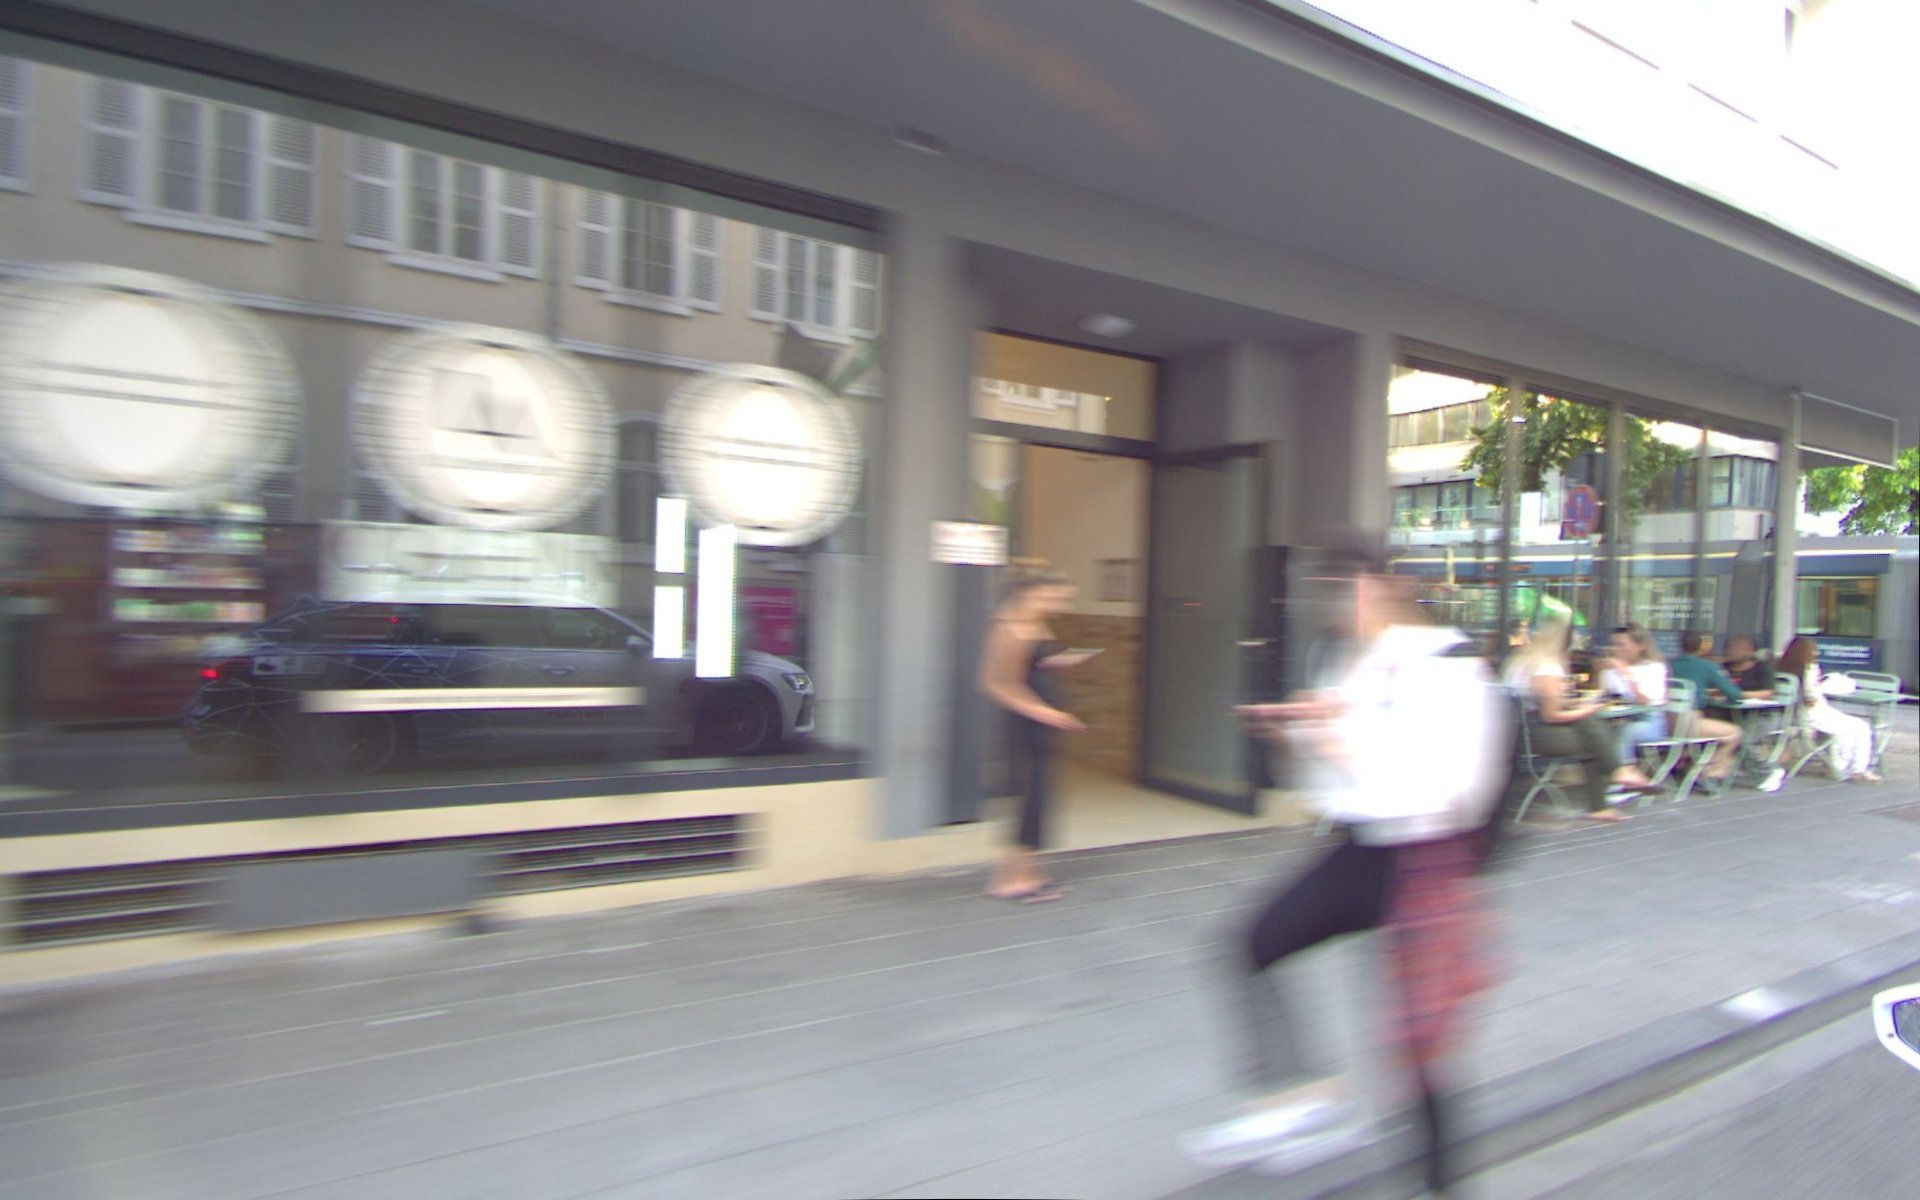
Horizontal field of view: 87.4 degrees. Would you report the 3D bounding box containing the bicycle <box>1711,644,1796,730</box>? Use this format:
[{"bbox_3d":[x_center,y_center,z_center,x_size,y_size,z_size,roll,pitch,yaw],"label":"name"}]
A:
[{"bbox_3d":[11.669,1.247,14.821,0.767,1.154,1.862,1,-2,32],"label":"bicycle"}]

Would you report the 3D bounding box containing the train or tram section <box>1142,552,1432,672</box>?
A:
[{"bbox_3d":[11.049,0.376,35.644,3.018,3.570,10.449,3,-1,-29],"label":"train or tram section"}]

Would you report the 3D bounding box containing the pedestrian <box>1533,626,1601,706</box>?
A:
[{"bbox_3d":[11.015,1.188,18.230,0.686,1.395,0.787,2,-1,-27],"label":"pedestrian"}]

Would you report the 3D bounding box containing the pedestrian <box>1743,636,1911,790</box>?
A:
[{"bbox_3d":[7.574,0.958,8.816,0.825,1.235,0.706,2,1,8],"label":"pedestrian"}]

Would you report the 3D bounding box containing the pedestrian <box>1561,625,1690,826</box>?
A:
[{"bbox_3d":[4.803,0.851,7.233,0.695,1.303,0.858,2,1,36],"label":"pedestrian"}]

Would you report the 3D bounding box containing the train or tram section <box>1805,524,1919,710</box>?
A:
[{"bbox_3d":[21.349,0.400,17.044,2.981,3.570,10.321,3,-1,-29],"label":"train or tram section"}]

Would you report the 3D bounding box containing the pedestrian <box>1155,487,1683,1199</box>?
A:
[{"bbox_3d":[0.970,0.698,2.256,0.773,1.762,0.756,1,-2,-20],"label":"pedestrian"}]

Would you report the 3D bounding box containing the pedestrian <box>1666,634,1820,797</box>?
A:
[{"bbox_3d":[6.421,0.916,8.255,0.682,1.211,0.701,1,3,-26],"label":"pedestrian"}]

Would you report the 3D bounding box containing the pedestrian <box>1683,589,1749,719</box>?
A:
[{"bbox_3d":[10.681,0.747,14.214,0.630,1.764,0.780,1,-1,30],"label":"pedestrian"}]

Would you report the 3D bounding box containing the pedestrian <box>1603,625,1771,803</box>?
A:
[{"bbox_3d":[5.668,0.858,7.853,0.767,1.256,0.701,2,4,-26],"label":"pedestrian"}]

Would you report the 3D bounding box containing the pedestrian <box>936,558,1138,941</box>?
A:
[{"bbox_3d":[0.360,0.619,4.626,0.648,1.591,0.636,3,2,35],"label":"pedestrian"}]

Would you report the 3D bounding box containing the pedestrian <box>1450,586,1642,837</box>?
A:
[{"bbox_3d":[3.929,0.702,6.758,0.848,1.568,0.702,1,1,-22],"label":"pedestrian"}]

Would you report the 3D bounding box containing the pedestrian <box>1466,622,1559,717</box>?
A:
[{"bbox_3d":[8.166,1.017,14.859,0.839,1.337,0.876,2,-1,-26],"label":"pedestrian"}]

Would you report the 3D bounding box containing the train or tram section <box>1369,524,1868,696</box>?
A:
[{"bbox_3d":[16.246,0.241,26.278,2.977,3.570,10.761,2,-1,-29],"label":"train or tram section"}]
